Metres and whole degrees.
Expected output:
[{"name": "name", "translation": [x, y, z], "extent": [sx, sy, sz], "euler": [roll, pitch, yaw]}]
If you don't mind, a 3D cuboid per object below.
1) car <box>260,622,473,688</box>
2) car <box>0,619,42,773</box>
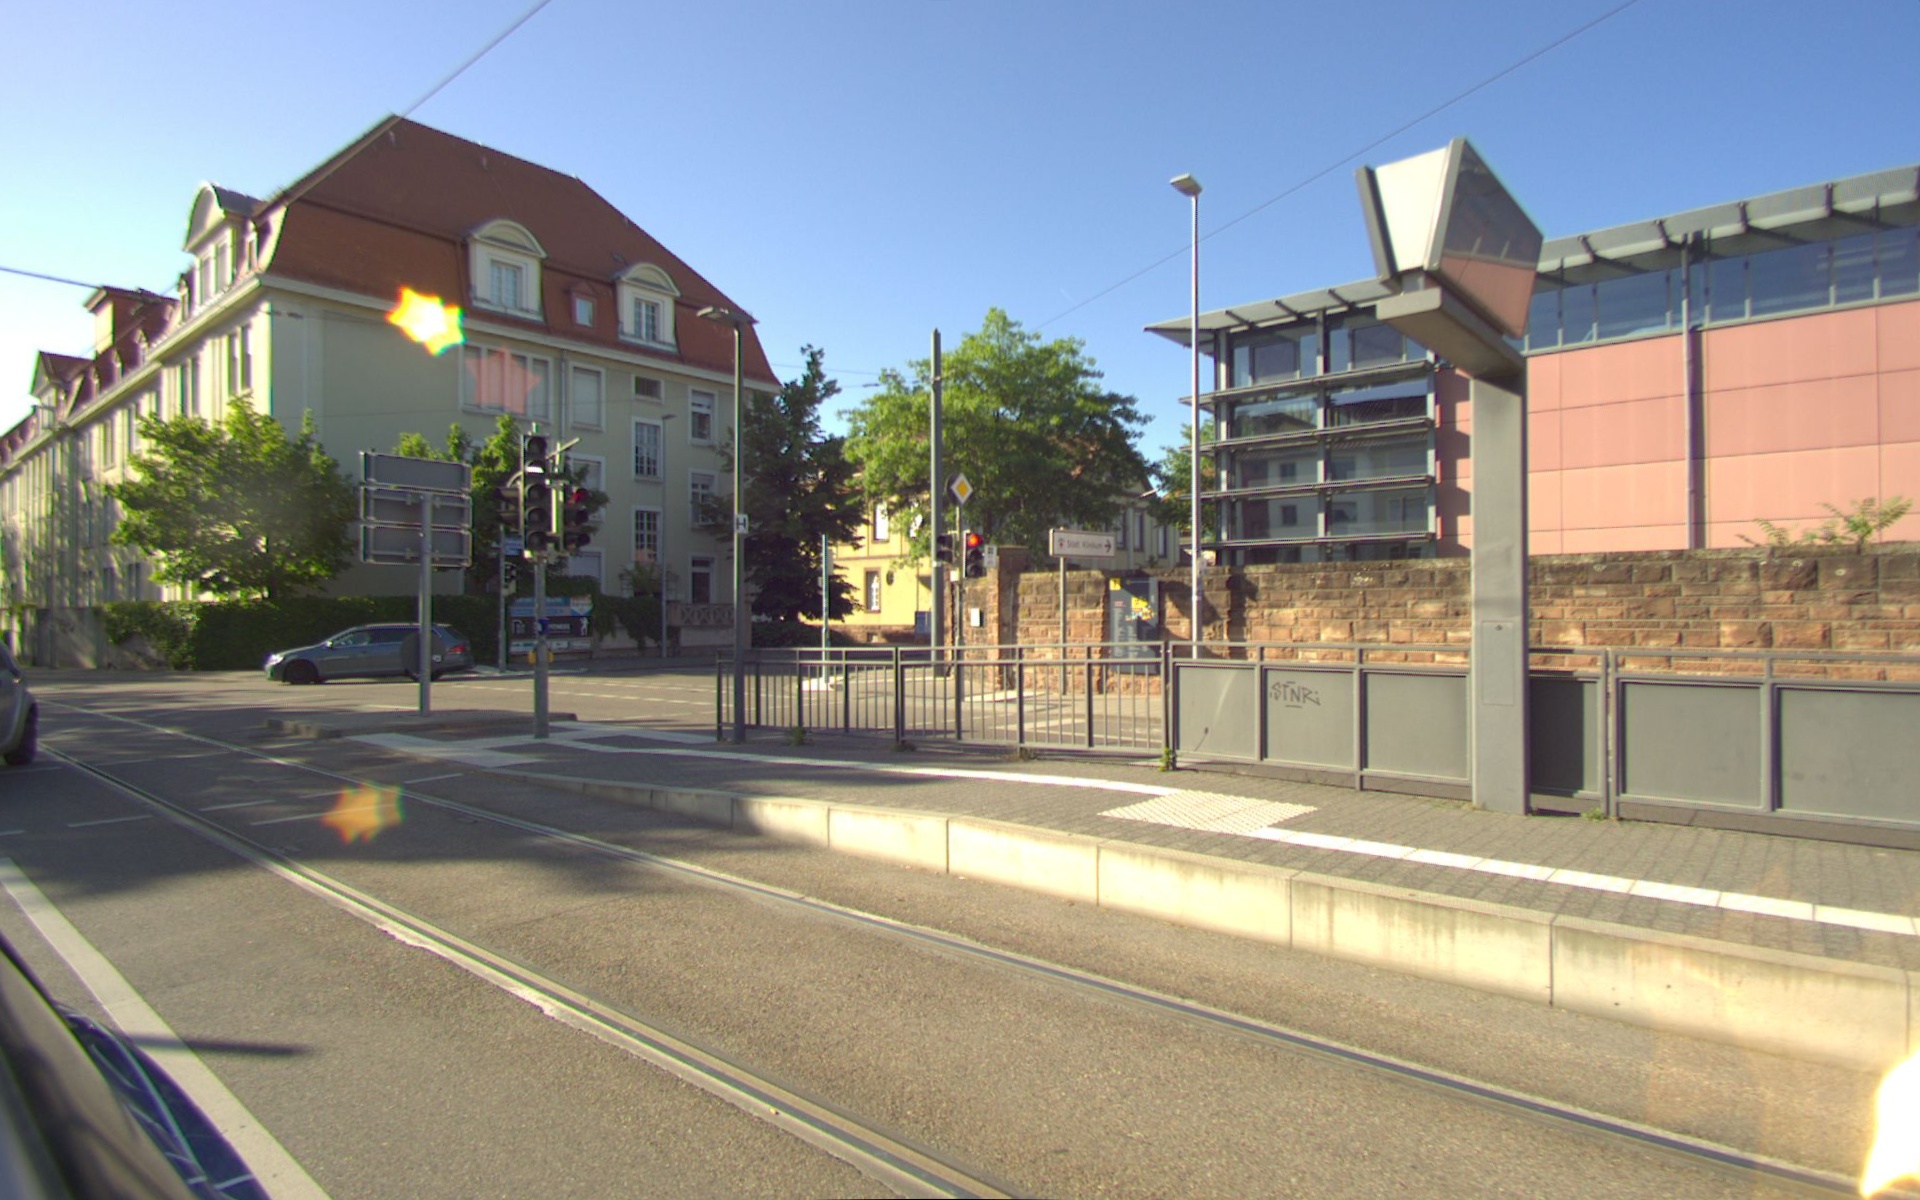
[{"name": "car", "translation": [-14.489, 1.311, 25.003], "extent": [4.328, 1.470, 1.749], "euler": [0, -1, -23]}, {"name": "car", "translation": [-9.712, 0.909, 8.918], "extent": [1.713, 1.470, 3.704], "euler": [0, -1, -31]}]
